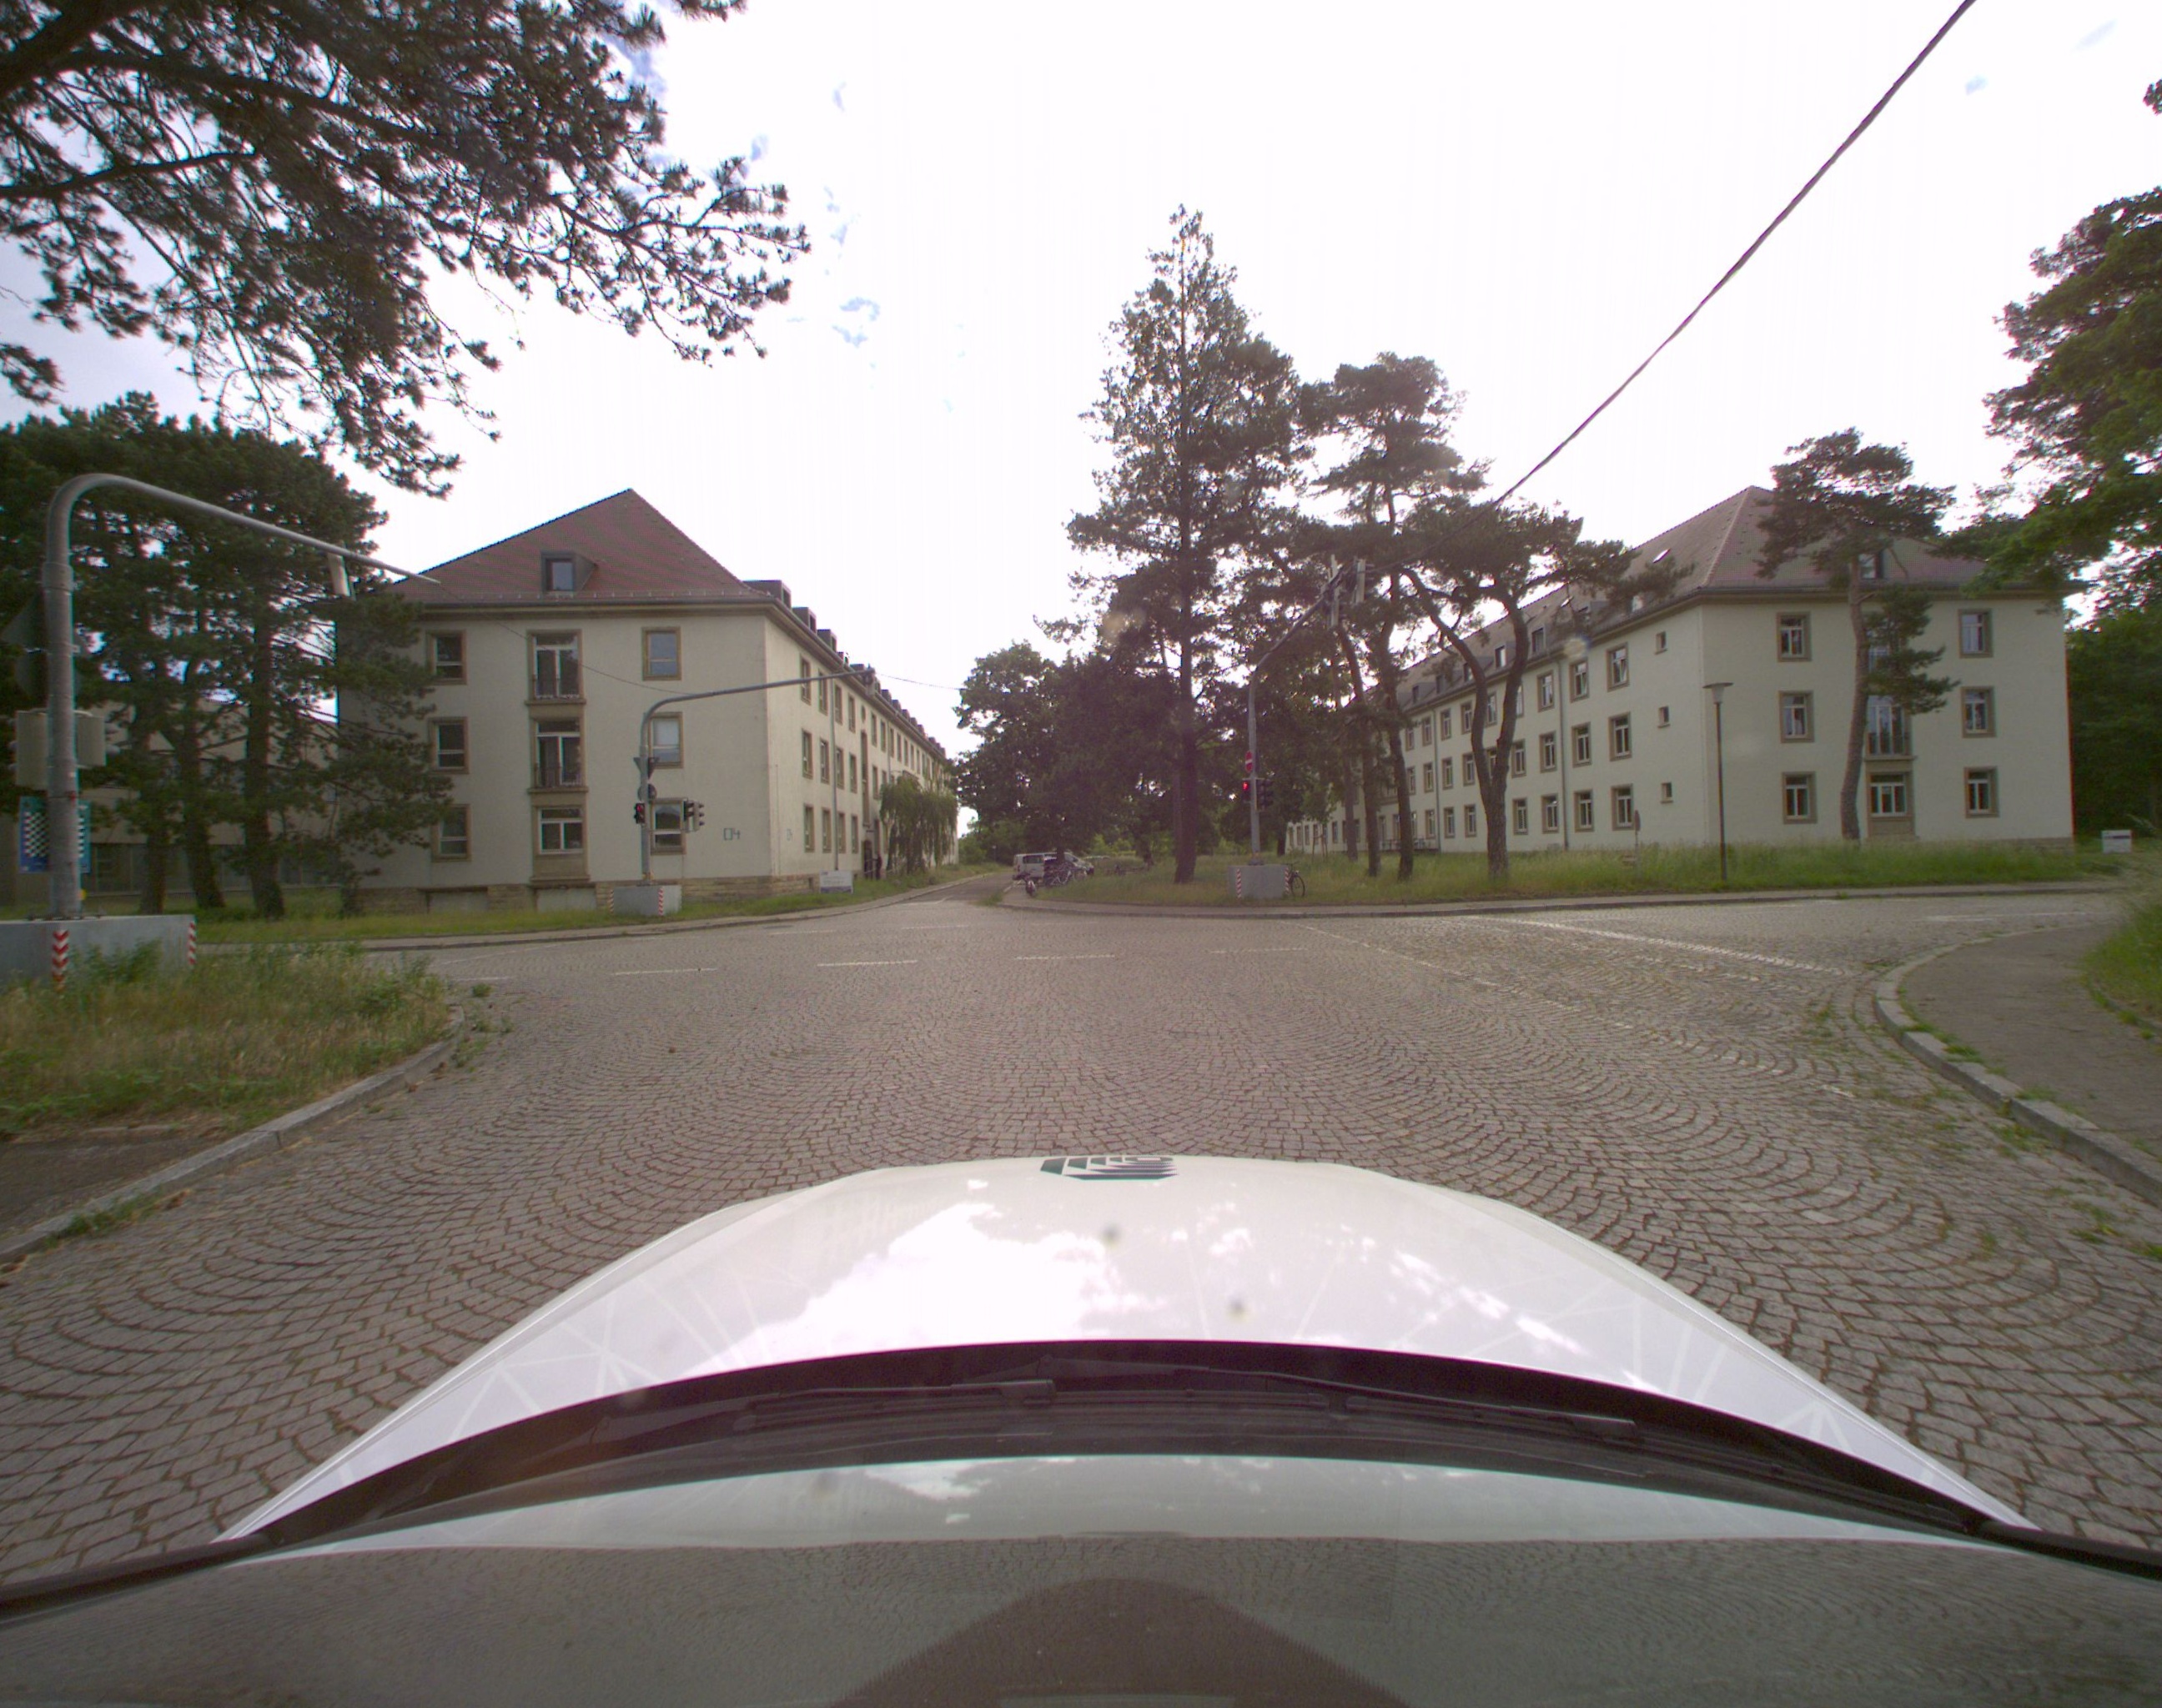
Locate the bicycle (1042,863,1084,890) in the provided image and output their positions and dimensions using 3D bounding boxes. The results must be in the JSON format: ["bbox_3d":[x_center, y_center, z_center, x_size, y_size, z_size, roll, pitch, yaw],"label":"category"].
[{"bbox_3d":[-0.882,1.088,39.512,1.978,1.248,0.623,-1,-1,-4],"label":"bicycle"}]

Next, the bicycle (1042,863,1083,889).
[{"bbox_3d":[-0.929,1.095,40.023,1.978,1.248,0.623,-1,-1,-4],"label":"bicycle"}]

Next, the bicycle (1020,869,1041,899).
[{"bbox_3d":[-1.935,1.135,31.433,0.620,1.113,1.989,-1,-1,1],"label":"bicycle"}]

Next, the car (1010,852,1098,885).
[{"bbox_3d":[-1.779,0.922,52.925,5.317,1.916,2.137,-2,0,-17],"label":"car"}]

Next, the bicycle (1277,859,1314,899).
[{"bbox_3d":[5.985,0.680,22.765,0.578,0.970,1.678,-4,1,2],"label":"bicycle"}]

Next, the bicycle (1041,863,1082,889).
[{"bbox_3d":[-0.968,1.102,40.515,1.978,1.248,0.623,-1,-1,-4],"label":"bicycle"}]

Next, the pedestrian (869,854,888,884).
[{"bbox_3d":[-12.472,0.914,50.231,0.834,1.781,0.942,-2,-1,3],"label":"pedestrian"}]

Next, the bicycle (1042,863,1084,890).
[{"bbox_3d":[-0.858,1.080,38.866,1.978,1.248,0.623,-1,-1,-4],"label":"bicycle"}]

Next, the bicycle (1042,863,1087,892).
[{"bbox_3d":[-0.741,1.049,36.423,1.978,1.248,0.623,-1,-1,-4],"label":"bicycle"}]

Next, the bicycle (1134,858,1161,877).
[{"bbox_3d":[4.066,0.845,49.895,1.544,1.125,0.401,-2,-1,-1],"label":"bicycle"}]

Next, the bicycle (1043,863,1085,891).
[{"bbox_3d":[-0.815,1.074,38.437,1.978,1.248,0.623,-1,-1,-4],"label":"bicycle"}]

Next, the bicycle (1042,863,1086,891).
[{"bbox_3d":[-0.782,1.060,37.280,1.978,1.248,0.623,-1,-1,-4],"label":"bicycle"}]

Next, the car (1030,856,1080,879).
[{"bbox_3d":[-2.167,1.070,66.797,4.023,1.718,1.679,-2,-1,-4],"label":"car"}]

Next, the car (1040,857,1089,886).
[{"bbox_3d":[-1.012,1.049,49.483,2.841,1.558,1.470,-2,1,-3],"label":"car"}]

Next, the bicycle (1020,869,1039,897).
[{"bbox_3d":[-2.093,1.176,33.379,0.620,1.082,1.678,-1,-1,2],"label":"bicycle"}]

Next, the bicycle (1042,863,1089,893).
[{"bbox_3d":[-0.654,1.029,34.871,1.978,1.248,0.623,-1,-1,-4],"label":"bicycle"}]

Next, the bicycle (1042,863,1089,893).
[{"bbox_3d":[-0.683,1.037,35.499,1.978,1.248,0.623,-1,-1,-4],"label":"bicycle"}]

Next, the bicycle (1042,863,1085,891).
[{"bbox_3d":[-0.806,1.068,37.912,1.978,1.248,0.623,-1,-1,-4],"label":"bicycle"}]

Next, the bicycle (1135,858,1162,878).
[{"bbox_3d":[4.046,0.834,48.662,1.544,1.125,0.401,-2,-1,-1],"label":"bicycle"}]

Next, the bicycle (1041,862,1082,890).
[{"bbox_3d":[-1.000,1.110,41.174,1.979,1.248,0.623,-3,-1,-4],"label":"bicycle"}]
